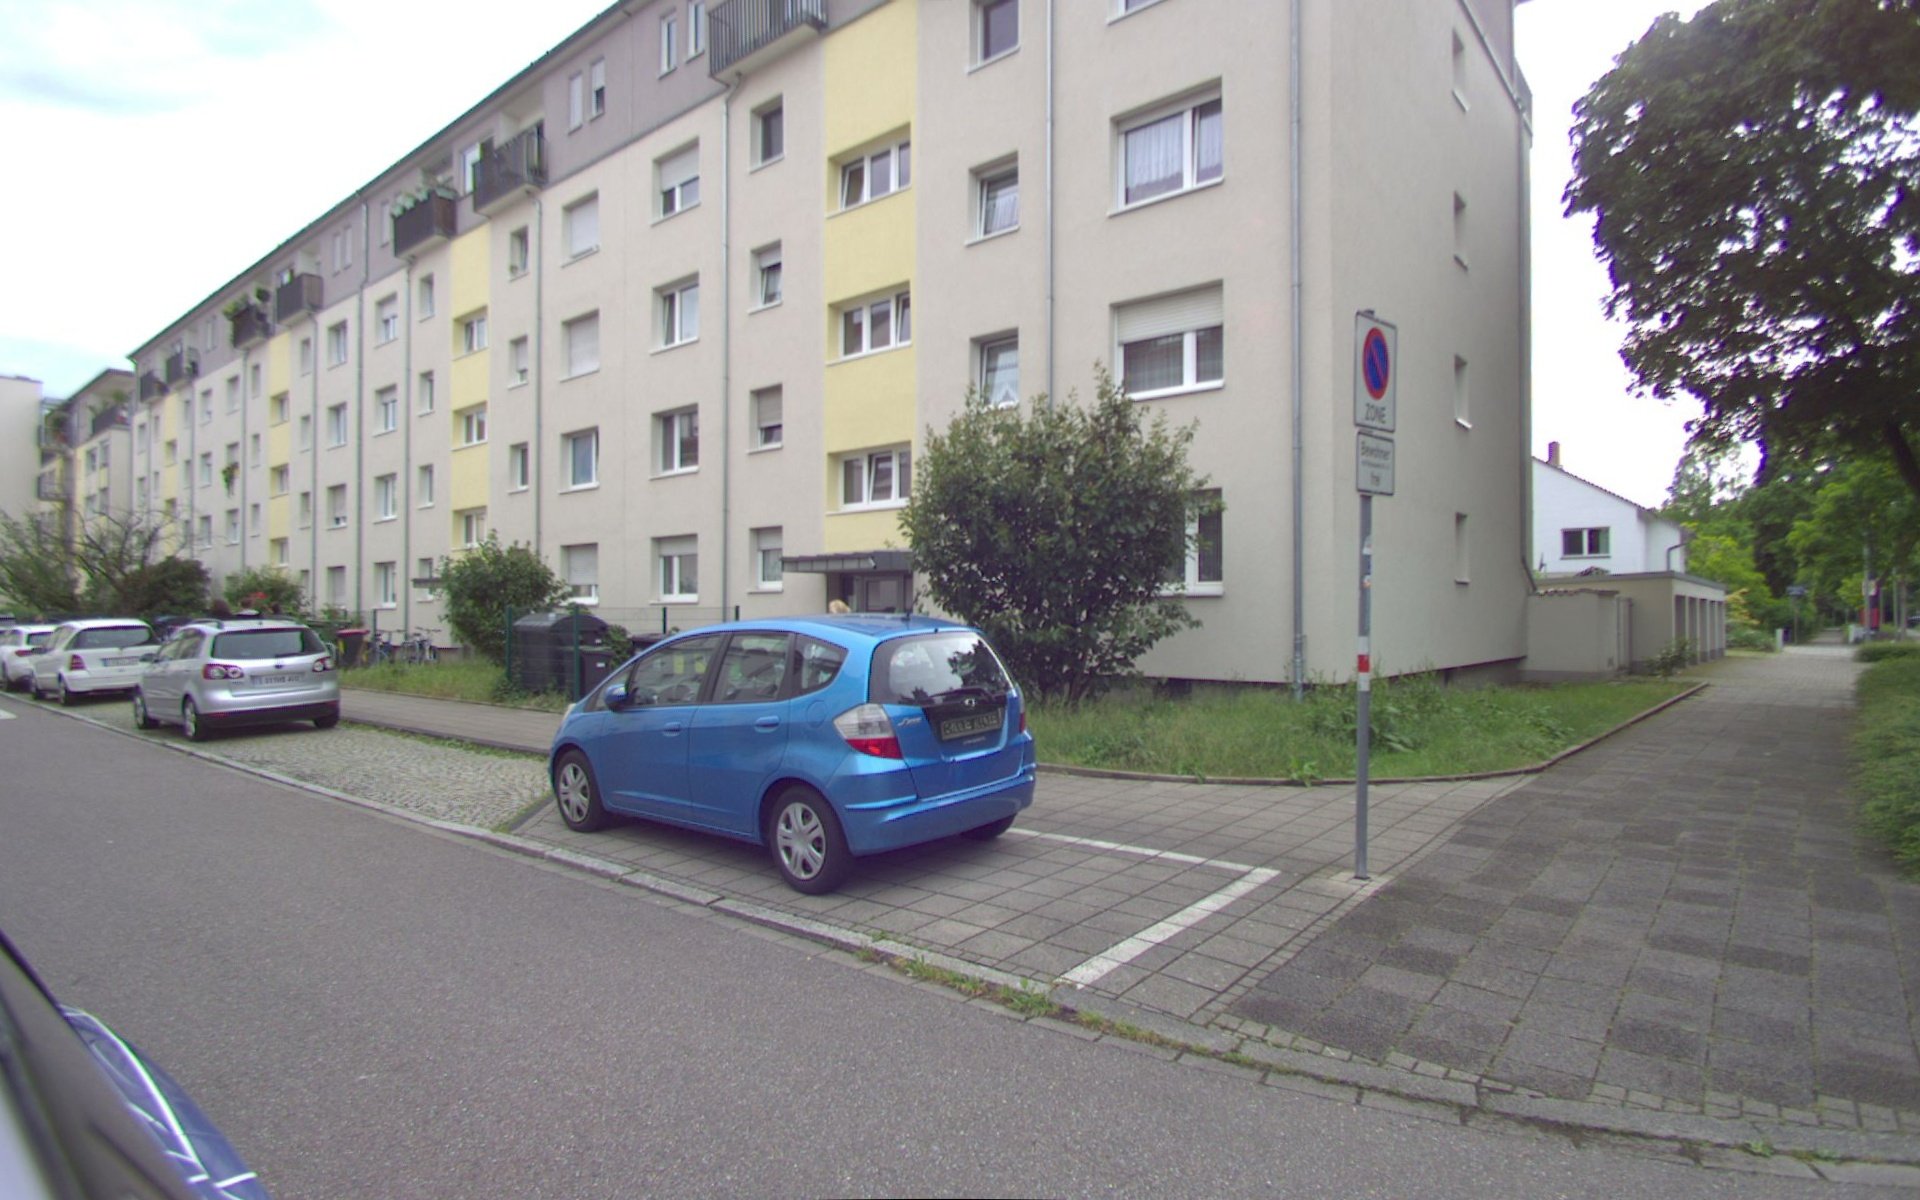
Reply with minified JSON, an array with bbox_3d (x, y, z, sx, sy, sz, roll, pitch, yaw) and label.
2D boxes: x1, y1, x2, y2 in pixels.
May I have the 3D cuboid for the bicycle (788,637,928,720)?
[{"bbox_3d":[-1.474,1.070,14.269,2.174,1.079,0.651,-2,-2,41],"label":"bicycle"}]

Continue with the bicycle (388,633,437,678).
[{"bbox_3d":[-13.099,1.319,24.187,1.556,1.032,0.416,-2,-2,37],"label":"bicycle"}]

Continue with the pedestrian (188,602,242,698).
[{"bbox_3d":[-15.080,0.990,20.477,0.973,1.877,0.634,-2,0,40],"label":"pedestrian"}]

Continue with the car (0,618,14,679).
[{"bbox_3d":[-30.436,1.491,30.980,4.447,1.794,1.555,-2,-2,39],"label":"car"}]

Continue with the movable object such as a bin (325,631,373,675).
[{"bbox_3d":[-16.268,1.402,26.938,0.786,1.117,0.861,0,0,36],"label":"movable object such as a bin"}]

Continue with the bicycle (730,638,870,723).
[{"bbox_3d":[-2.227,1.063,13.845,2.174,1.079,0.651,-2,-2,41],"label":"bicycle"}]

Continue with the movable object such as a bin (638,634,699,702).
[{"bbox_3d":[-5.048,1.162,17.550,0.597,1.125,0.834,-2,-2,37],"label":"movable object such as a bin"}]

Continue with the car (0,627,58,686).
[{"bbox_3d":[-25.828,1.466,27.097,4.476,1.464,1.709,-1,-2,38],"label":"car"}]

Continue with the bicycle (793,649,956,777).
[{"bbox_3d":[-0.870,1.050,9.898,1.819,1.128,0.530,-2,-2,45],"label":"bicycle"}]

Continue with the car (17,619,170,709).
[{"bbox_3d":[-17.448,1.218,20.326,3.723,1.651,1.669,-2,-2,39],"label":"car"}]

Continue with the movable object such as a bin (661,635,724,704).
[{"bbox_3d":[-4.527,1.162,17.139,0.597,1.125,0.834,-2,-2,37],"label":"movable object such as a bin"}]

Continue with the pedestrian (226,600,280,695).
[{"bbox_3d":[-14.311,0.953,20.482,0.762,1.868,0.699,-2,-2,40],"label":"pedestrian"}]

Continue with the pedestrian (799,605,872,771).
[{"bbox_3d":[-1.213,0.837,9.879,0.568,1.561,0.441,-2,-3,44],"label":"pedestrian"}]

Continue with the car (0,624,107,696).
[{"bbox_3d":[-21.815,1.367,23.825,4.680,1.521,1.702,-2,-2,38],"label":"car"}]

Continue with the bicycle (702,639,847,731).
[{"bbox_3d":[-2.415,1.051,13.013,2.120,1.076,0.650,-2,-2,41],"label":"bicycle"}]

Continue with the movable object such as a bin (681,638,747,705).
[{"bbox_3d":[-4.056,1.160,16.681,0.633,1.059,0.855,-2,-2,38],"label":"movable object such as a bin"}]

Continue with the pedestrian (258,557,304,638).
[{"bbox_3d":[-14.342,-0.040,21.376,0.802,1.669,0.608,-2,-2,40],"label":"pedestrian"}]

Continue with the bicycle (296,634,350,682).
[{"bbox_3d":[-14.428,1.295,22.901,1.877,1.032,0.483,-2,-2,40],"label":"bicycle"}]

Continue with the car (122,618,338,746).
[{"bbox_3d":[-10.583,1.086,14.577,3.913,1.562,1.637,-2,-1,41],"label":"car"}]

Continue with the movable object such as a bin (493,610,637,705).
[{"bbox_3d":[-6.403,0.901,16.404,1.669,1.432,1.573,-2,-2,39],"label":"movable object such as a bin"}]

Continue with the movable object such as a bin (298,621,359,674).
[{"bbox_3d":[-17.171,1.269,27.523,1.187,1.385,1.047,0,0,35],"label":"movable object such as a bin"}]

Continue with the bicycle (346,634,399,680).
[{"bbox_3d":[-13.673,1.317,23.526,1.753,1.032,0.473,-2,-2,39],"label":"bicycle"}]

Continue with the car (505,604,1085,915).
[{"bbox_3d":[-1.300,0.826,6.890,3.953,1.473,1.713,-2,0,40],"label":"car"}]

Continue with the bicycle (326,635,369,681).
[{"bbox_3d":[-14.049,1.317,23.200,1.496,1.032,0.352,-2,-2,39],"label":"bicycle"}]

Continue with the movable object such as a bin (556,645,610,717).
[{"bbox_3d":[-5.647,1.195,15.146,0.597,1.041,0.532,-2,-2,38],"label":"movable object such as a bin"}]
